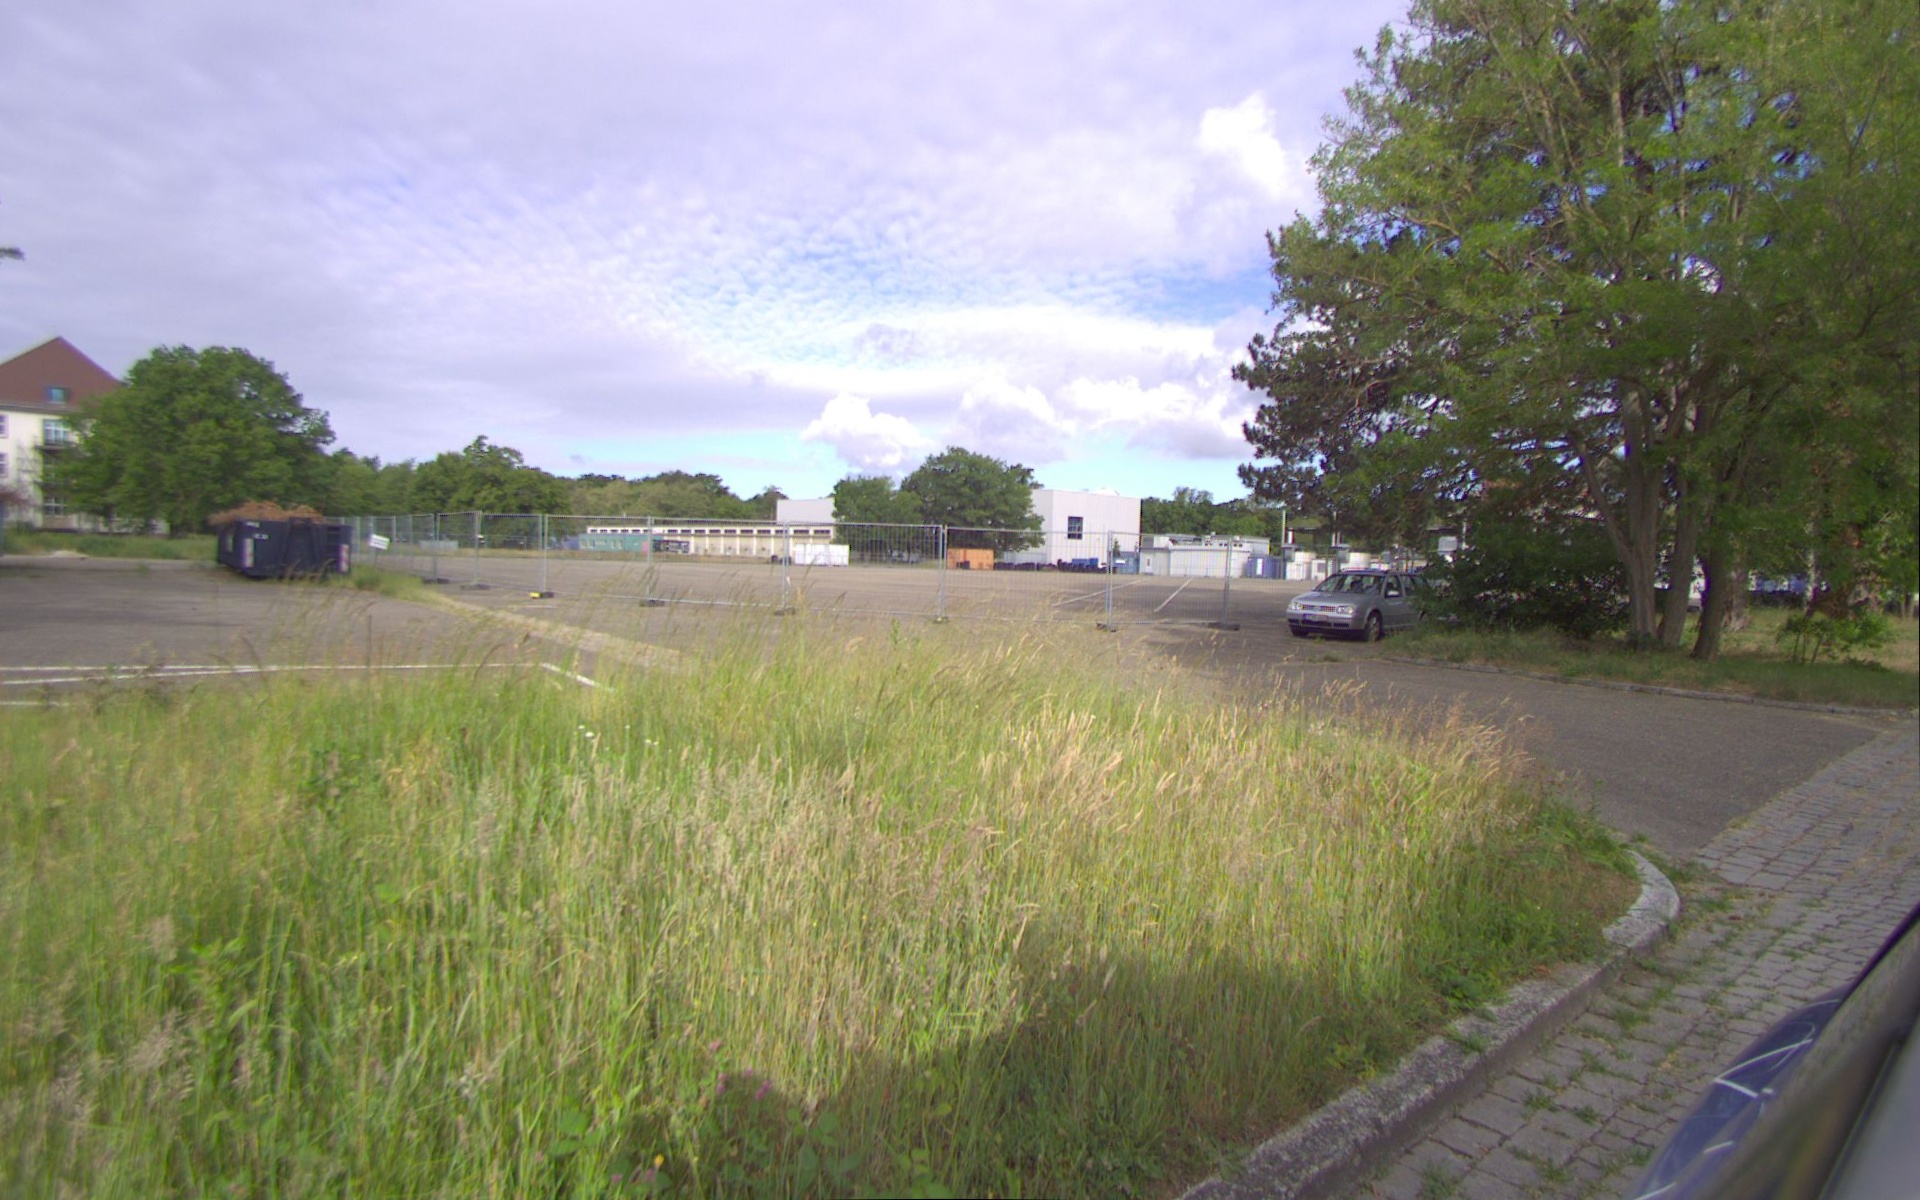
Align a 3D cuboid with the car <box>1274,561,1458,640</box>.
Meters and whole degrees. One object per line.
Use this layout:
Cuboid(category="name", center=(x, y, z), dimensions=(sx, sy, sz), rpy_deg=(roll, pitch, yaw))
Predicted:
Cuboid(category="car", center=(8.629, -0.029, 21.359), dimensions=(4.250, 1.466, 1.759), rpy_deg=(0, 3, -40))
